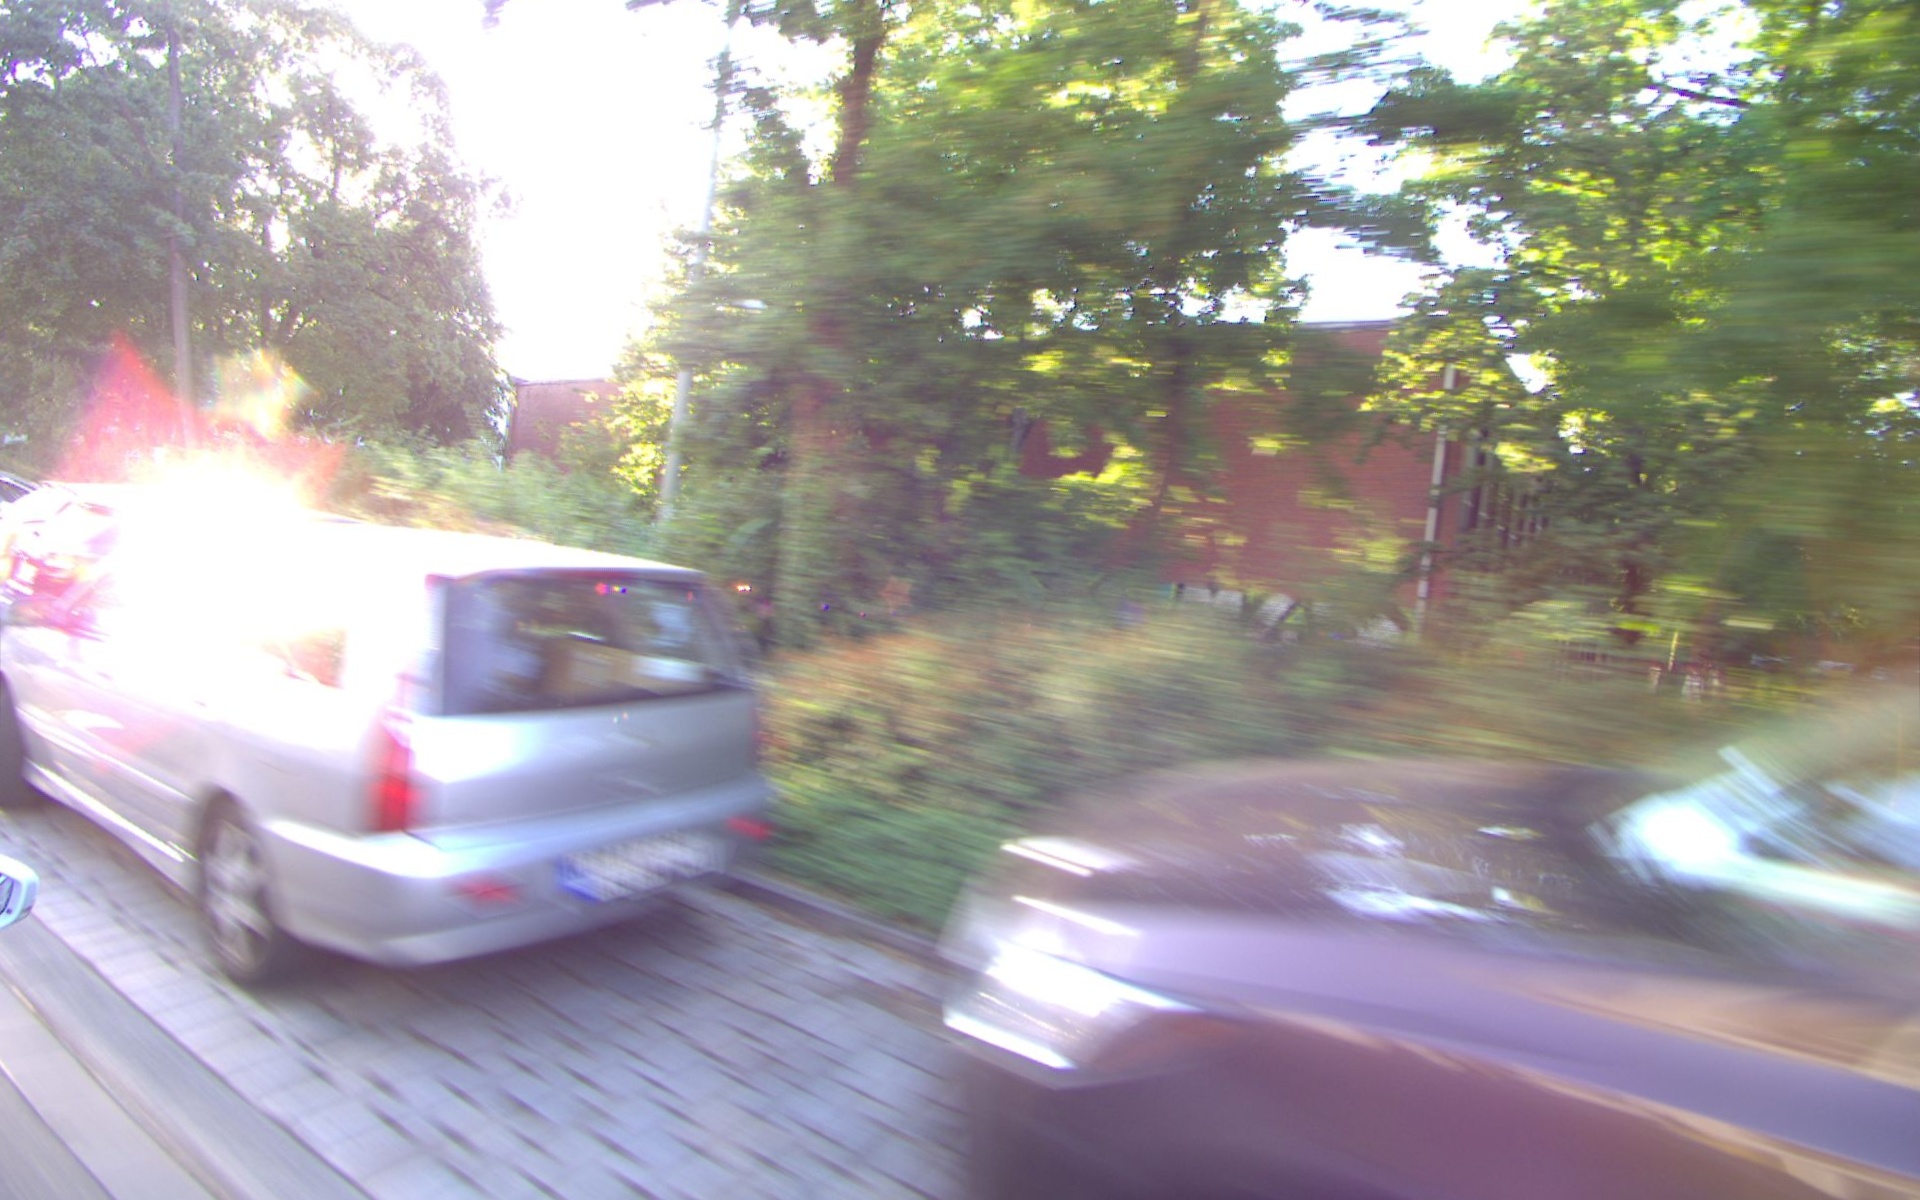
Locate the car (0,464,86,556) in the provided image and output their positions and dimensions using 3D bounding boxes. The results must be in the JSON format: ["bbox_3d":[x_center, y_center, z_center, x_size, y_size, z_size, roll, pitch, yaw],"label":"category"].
[{"bbox_3d":[-18.349,-1.751,18.110,1.708,1.574,3.661,8,4,36],"label":"car"}]

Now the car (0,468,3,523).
[{"bbox_3d":[-28.183,-3.023,26.505,1.805,1.495,4.111,8,3,39],"label":"car"}]

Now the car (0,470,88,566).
[{"bbox_3d":[-16.582,-1.438,16.117,1.708,1.465,3.661,8,4,36],"label":"car"}]

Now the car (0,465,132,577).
[{"bbox_3d":[-14.665,-1.252,14.749,1.646,1.547,3.604,8,4,36],"label":"car"}]

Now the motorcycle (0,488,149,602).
[{"bbox_3d":[-11.891,-0.731,12.984,0.768,1.321,2.086,8,3,44],"label":"motorcycle"}]

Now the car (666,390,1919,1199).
[{"bbox_3d":[2.014,0.849,1.387,4.585,1.771,1.925,7,1,28],"label":"car"}]

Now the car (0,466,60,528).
[{"bbox_3d":[-25.592,-2.765,25.567,1.805,1.495,3.799,7,3,38],"label":"car"}]

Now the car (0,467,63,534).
[{"bbox_3d":[-23.682,-2.467,23.521,1.730,1.495,3.799,7,3,38],"label":"car"}]

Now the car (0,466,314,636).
[{"bbox_3d":[-9.477,-0.536,11.210,1.646,1.544,3.385,7,0,36],"label":"car"}]

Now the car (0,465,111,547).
[{"bbox_3d":[-19.845,-2.010,20.424,1.793,1.519,3.717,7,3,38],"label":"car"}]

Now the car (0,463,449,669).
[{"bbox_3d":[-7.346,-0.269,9.943,1.646,1.559,3.624,8,1,38],"label":"car"}]

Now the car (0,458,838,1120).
[{"bbox_3d":[-2.759,0.358,4.392,4.231,1.588,1.651,7,1,33],"label":"car"}]

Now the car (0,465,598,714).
[{"bbox_3d":[-5.305,-0.005,8.334,1.713,1.531,3.947,8,1,37],"label":"car"}]
